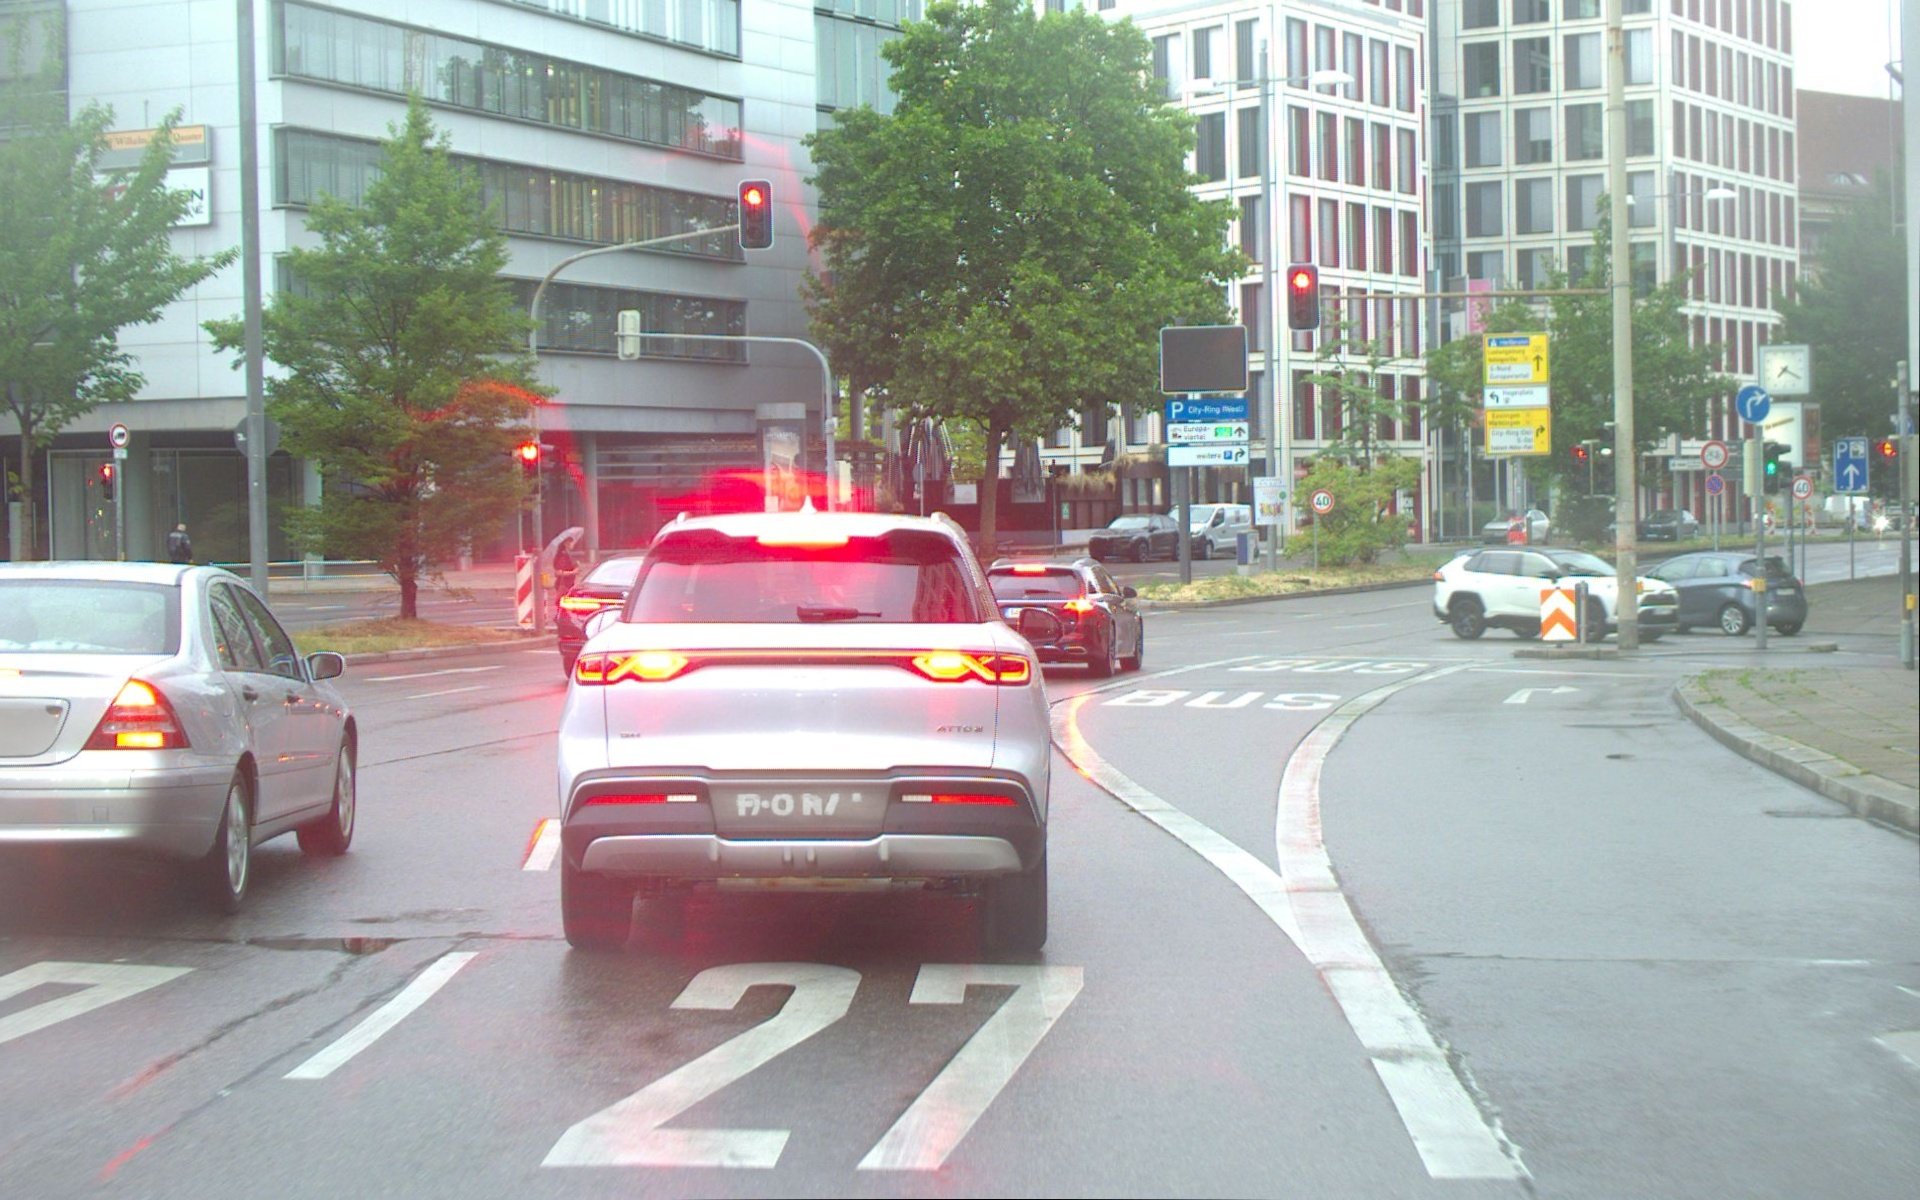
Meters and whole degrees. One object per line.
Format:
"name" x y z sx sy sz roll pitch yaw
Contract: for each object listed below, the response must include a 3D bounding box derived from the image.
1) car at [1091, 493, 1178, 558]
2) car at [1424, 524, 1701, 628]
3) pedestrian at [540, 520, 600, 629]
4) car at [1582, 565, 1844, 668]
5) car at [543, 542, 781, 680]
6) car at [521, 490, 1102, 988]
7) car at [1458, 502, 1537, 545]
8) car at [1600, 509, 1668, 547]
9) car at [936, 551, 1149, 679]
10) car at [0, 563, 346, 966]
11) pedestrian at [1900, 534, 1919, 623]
"car" 6.015 -2.539 117.868 1.739 2.154 4.489 1 1 19
"car" 10.564 -0.455 60.541 1.994 1.744 4.529 -1 2 -42
"pedestrian" -6.246 -0.411 55.114 0.921 1.732 0.730 0 1 -3
"car" 14.067 0.282 64.350 2.048 1.759 4.354 0 2 -44
"car" -3.445 0.088 40.481 1.956 1.525 3.999 0 1 8
"car" -0.593 0.434 14.062 1.993 1.703 4.483 0 1 -2
"car" 22.924 -3.271 146.490 1.997 1.700 4.302 1 3 28
"car" 32.358 -3.466 164.991 1.997 1.700 4.302 1 3 28
"car" 1.093 0.146 43.443 1.956 1.525 3.998 0 1 12
"car" -3.821 0.598 15.011 1.682 1.481 4.197 0 1 -2
"pedestrian" 18.013 -0.404 64.466 0.728 1.663 0.690 0 0 17
